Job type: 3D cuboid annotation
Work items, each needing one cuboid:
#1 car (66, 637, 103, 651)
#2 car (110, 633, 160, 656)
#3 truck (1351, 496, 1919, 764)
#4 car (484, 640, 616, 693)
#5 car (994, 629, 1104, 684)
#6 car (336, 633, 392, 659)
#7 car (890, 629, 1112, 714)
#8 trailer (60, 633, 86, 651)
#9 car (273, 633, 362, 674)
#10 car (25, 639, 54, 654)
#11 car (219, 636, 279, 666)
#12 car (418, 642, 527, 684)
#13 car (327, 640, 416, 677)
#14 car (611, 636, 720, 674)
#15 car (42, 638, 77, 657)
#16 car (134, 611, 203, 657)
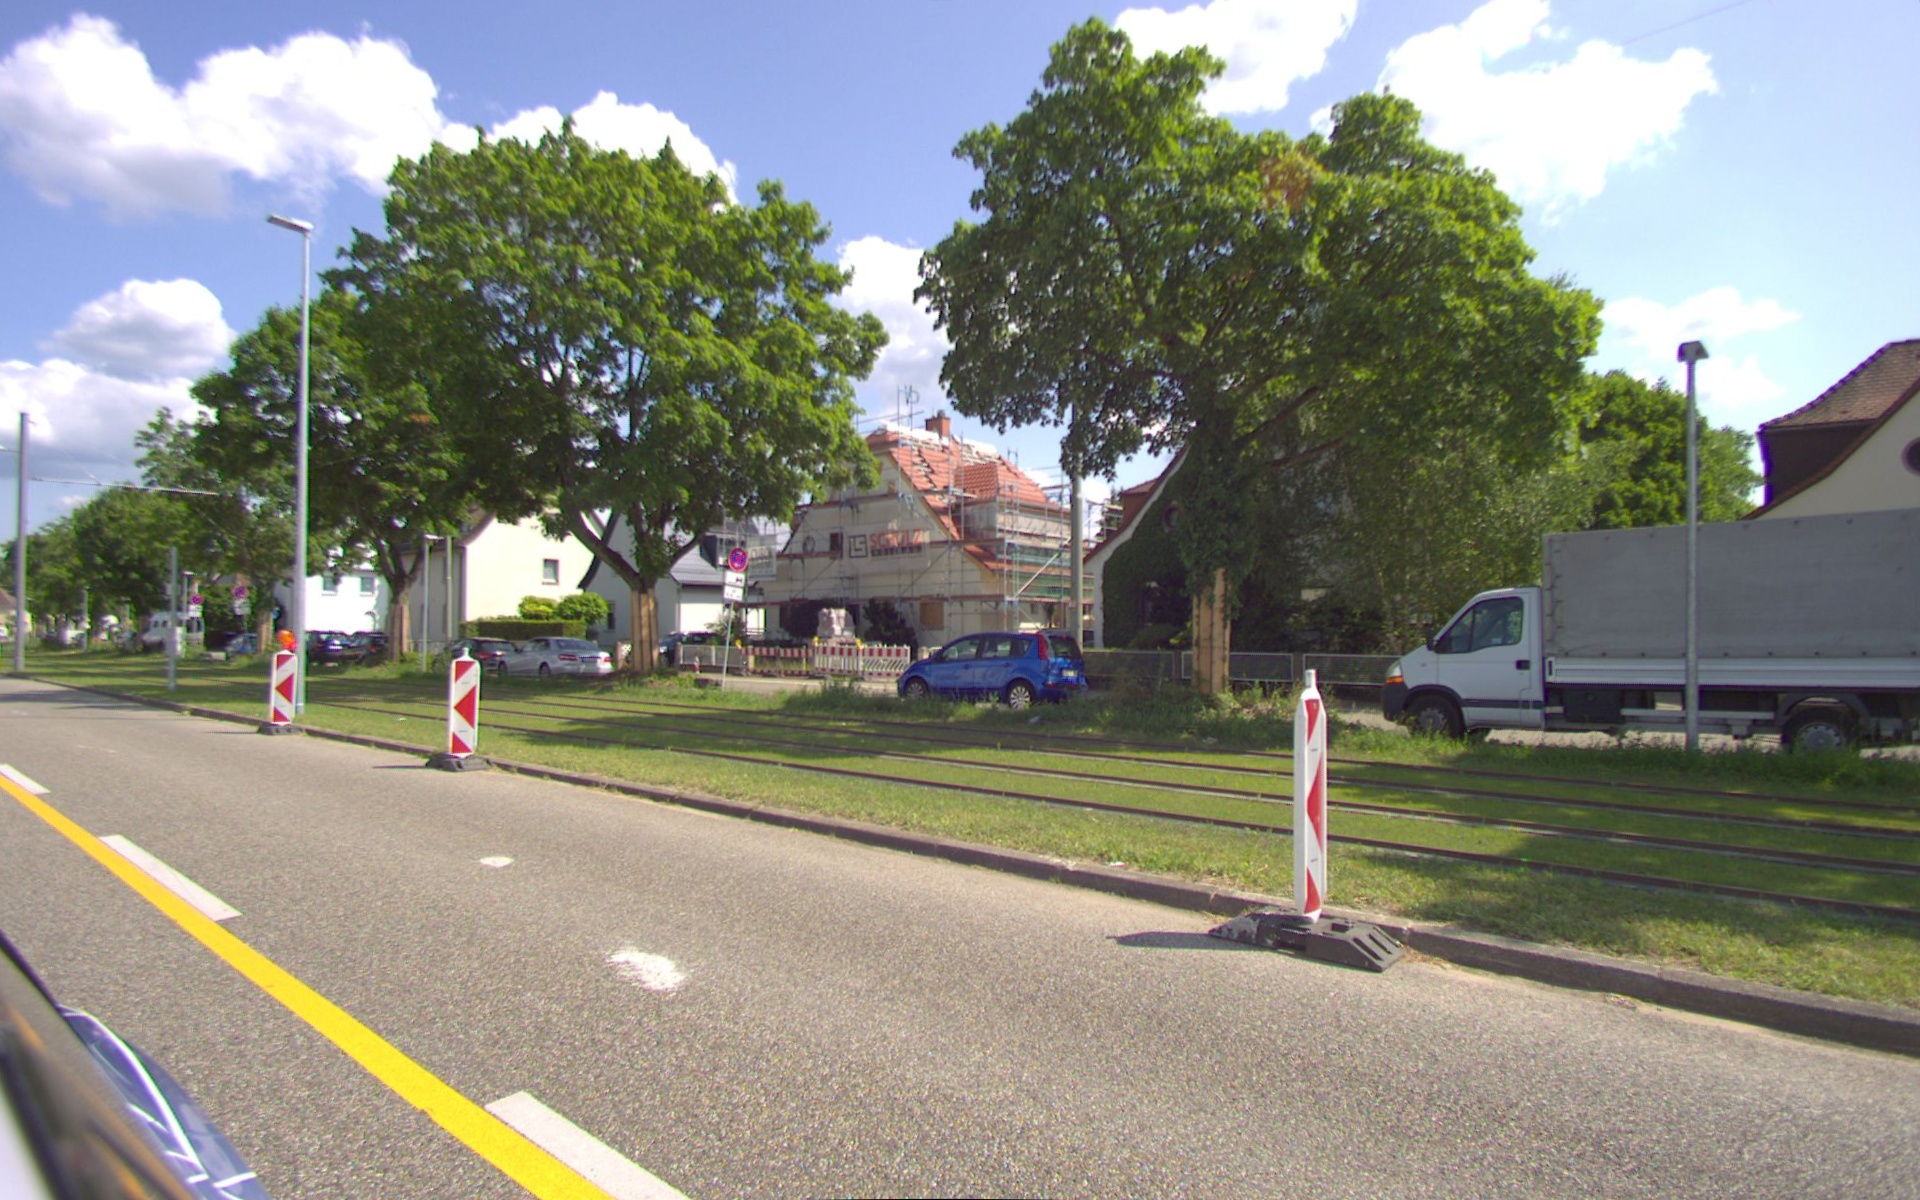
[{"bbox_3d":[-71.674,3.598,82.852,3.834,1.101,1.763,-1,-3,41],"label":"car"},{"bbox_3d":[-57.419,3.086,70.419,4.484,1.517,1.973,-1,-3,41],"label":"car"},{"bbox_3d":[8.567,0.463,13.074,6.272,2.789,1.973,-2,-6,41],"label":"truck"},{"bbox_3d":[-12.923,2.029,31.734,4.937,1.494,1.786,-1,-3,41],"label":"car"},{"bbox_3d":[2.970,1.832,33.362,1.872,1.697,3.610,-1,-3,40],"label":"car"},{"bbox_3d":[-38.355,2.935,65.084,3.998,1.589,1.883,-1,-3,41],"label":"car"},{"bbox_3d":[0.754,1.340,19.882,3.996,1.464,1.974,-1,-3,39],"label":"car"},{"bbox_3d":[-75.720,3.555,86.387,2.280,1.530,1.286,-2,-3,41],"label":"trailer"},{"bbox_3d":[-29.181,2.400,45.921,4.385,1.704,1.975,-1,-3,38],"label":"car"},{"bbox_3d":[-100.219,5.008,110.185,4.323,1.551,1.971,-1,-3,44],"label":"car"},{"bbox_3d":[-36.800,2.632,52.347,3.889,1.447,1.735,-1,-3,43],"label":"car"},{"bbox_3d":[-16.962,2.176,35.151,3.850,1.328,1.973,-1,-5,41],"label":"car"},{"bbox_3d":[-24.625,2.433,42.291,3.998,1.450,1.973,-1,-4,41],"label":"car"},{"bbox_3d":[-12.248,2.260,42.295,1.981,1.412,3.946,-1,-1,41],"label":"car"},{"bbox_3d":[-83.142,4.363,93.437,4.099,1.590,1.885,-4,-7,42],"label":"car"},{"bbox_3d":[-50.126,2.169,64.008,6.455,2.751,1.974,-2,-4,39],"label":"car"}]
